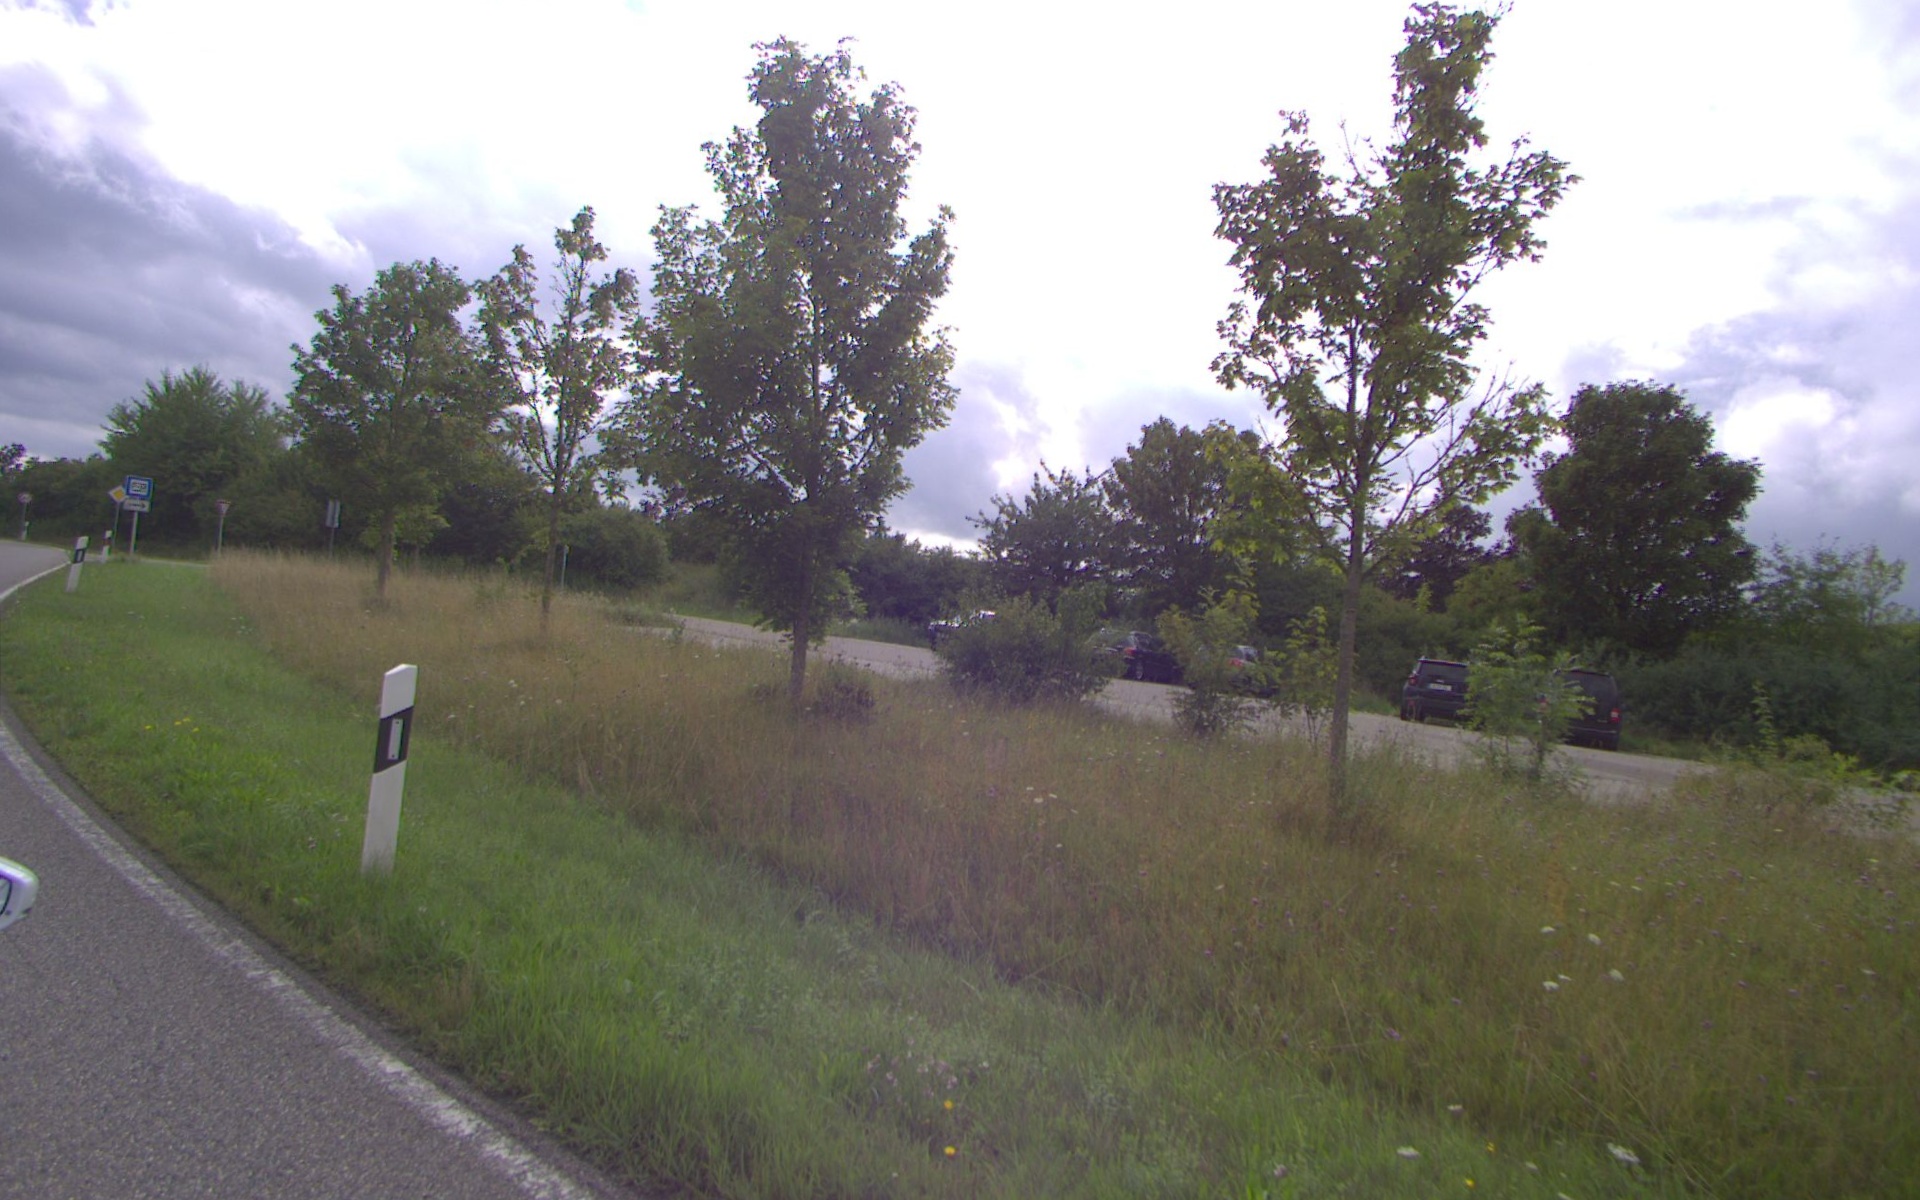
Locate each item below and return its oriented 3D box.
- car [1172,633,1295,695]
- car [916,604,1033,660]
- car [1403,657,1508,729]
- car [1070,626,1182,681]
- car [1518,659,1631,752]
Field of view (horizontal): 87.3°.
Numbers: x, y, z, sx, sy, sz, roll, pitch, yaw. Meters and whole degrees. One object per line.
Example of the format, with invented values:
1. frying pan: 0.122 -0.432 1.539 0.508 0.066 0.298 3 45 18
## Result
1. car: 8.188 1.923 29.874 2.022 1.523 3.994 5 -1 38
2. car: 0.586 1.146 35.246 1.967 1.600 4.483 5 -1 32
3. car: 12.943 2.378 26.176 1.967 1.515 3.991 5 -1 32
4. car: 5.324 1.716 31.818 1.967 1.431 4.156 5 -1 32
5. car: 15.211 2.546 24.805 1.969 1.882 3.987 5 -1 36
